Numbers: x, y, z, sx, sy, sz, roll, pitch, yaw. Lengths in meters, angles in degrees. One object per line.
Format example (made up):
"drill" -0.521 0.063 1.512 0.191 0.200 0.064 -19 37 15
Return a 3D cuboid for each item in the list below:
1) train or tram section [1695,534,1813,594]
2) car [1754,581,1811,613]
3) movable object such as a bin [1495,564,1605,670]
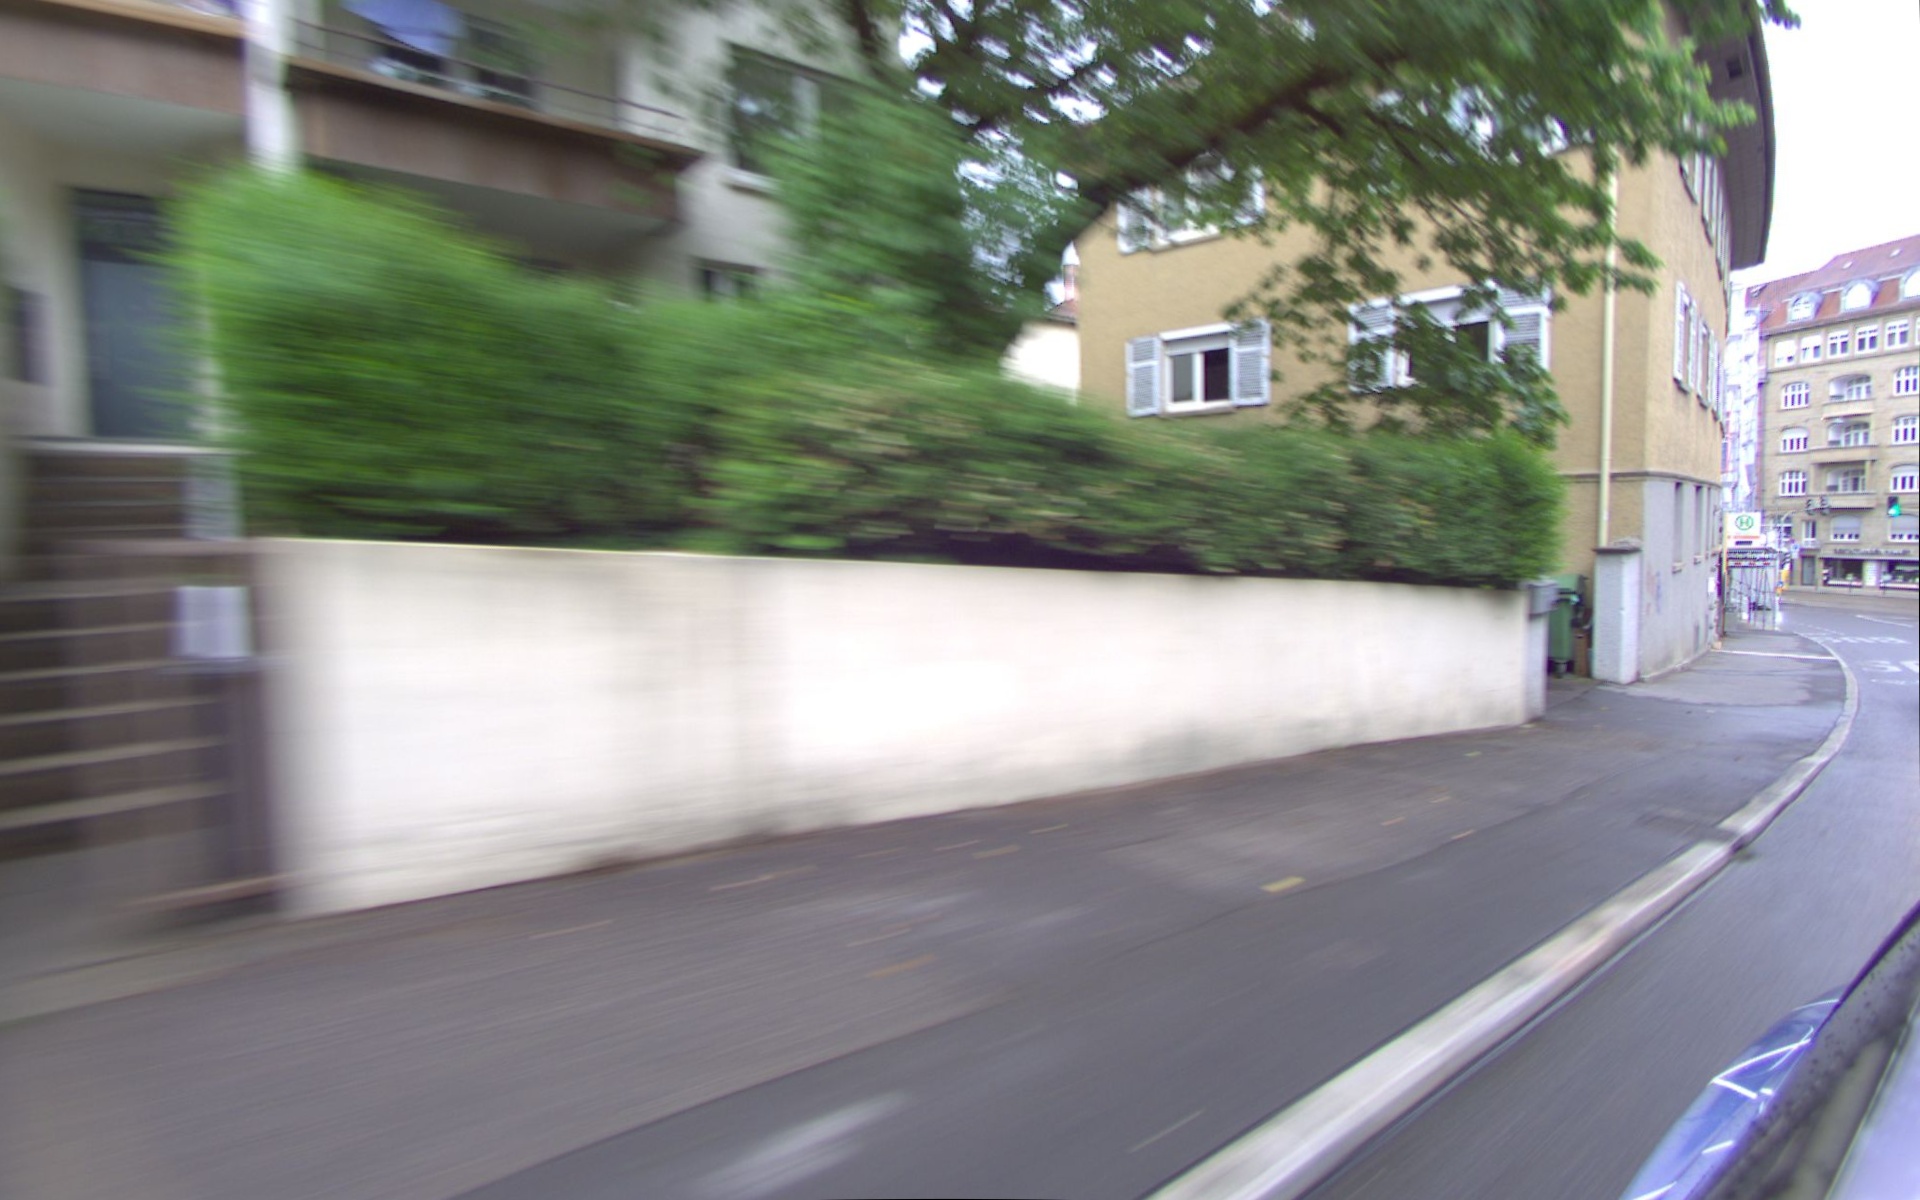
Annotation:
"train or tram section" 59.031 -2.854 75.612 3.043 4.049 9.775 0 4 14
"car" 47.006 -0.177 57.917 1.882 1.717 3.957 -1 0 30
"movable object such as a bin" 8.662 0.237 14.874 1.250 1.474 0.813 -1 -1 43
